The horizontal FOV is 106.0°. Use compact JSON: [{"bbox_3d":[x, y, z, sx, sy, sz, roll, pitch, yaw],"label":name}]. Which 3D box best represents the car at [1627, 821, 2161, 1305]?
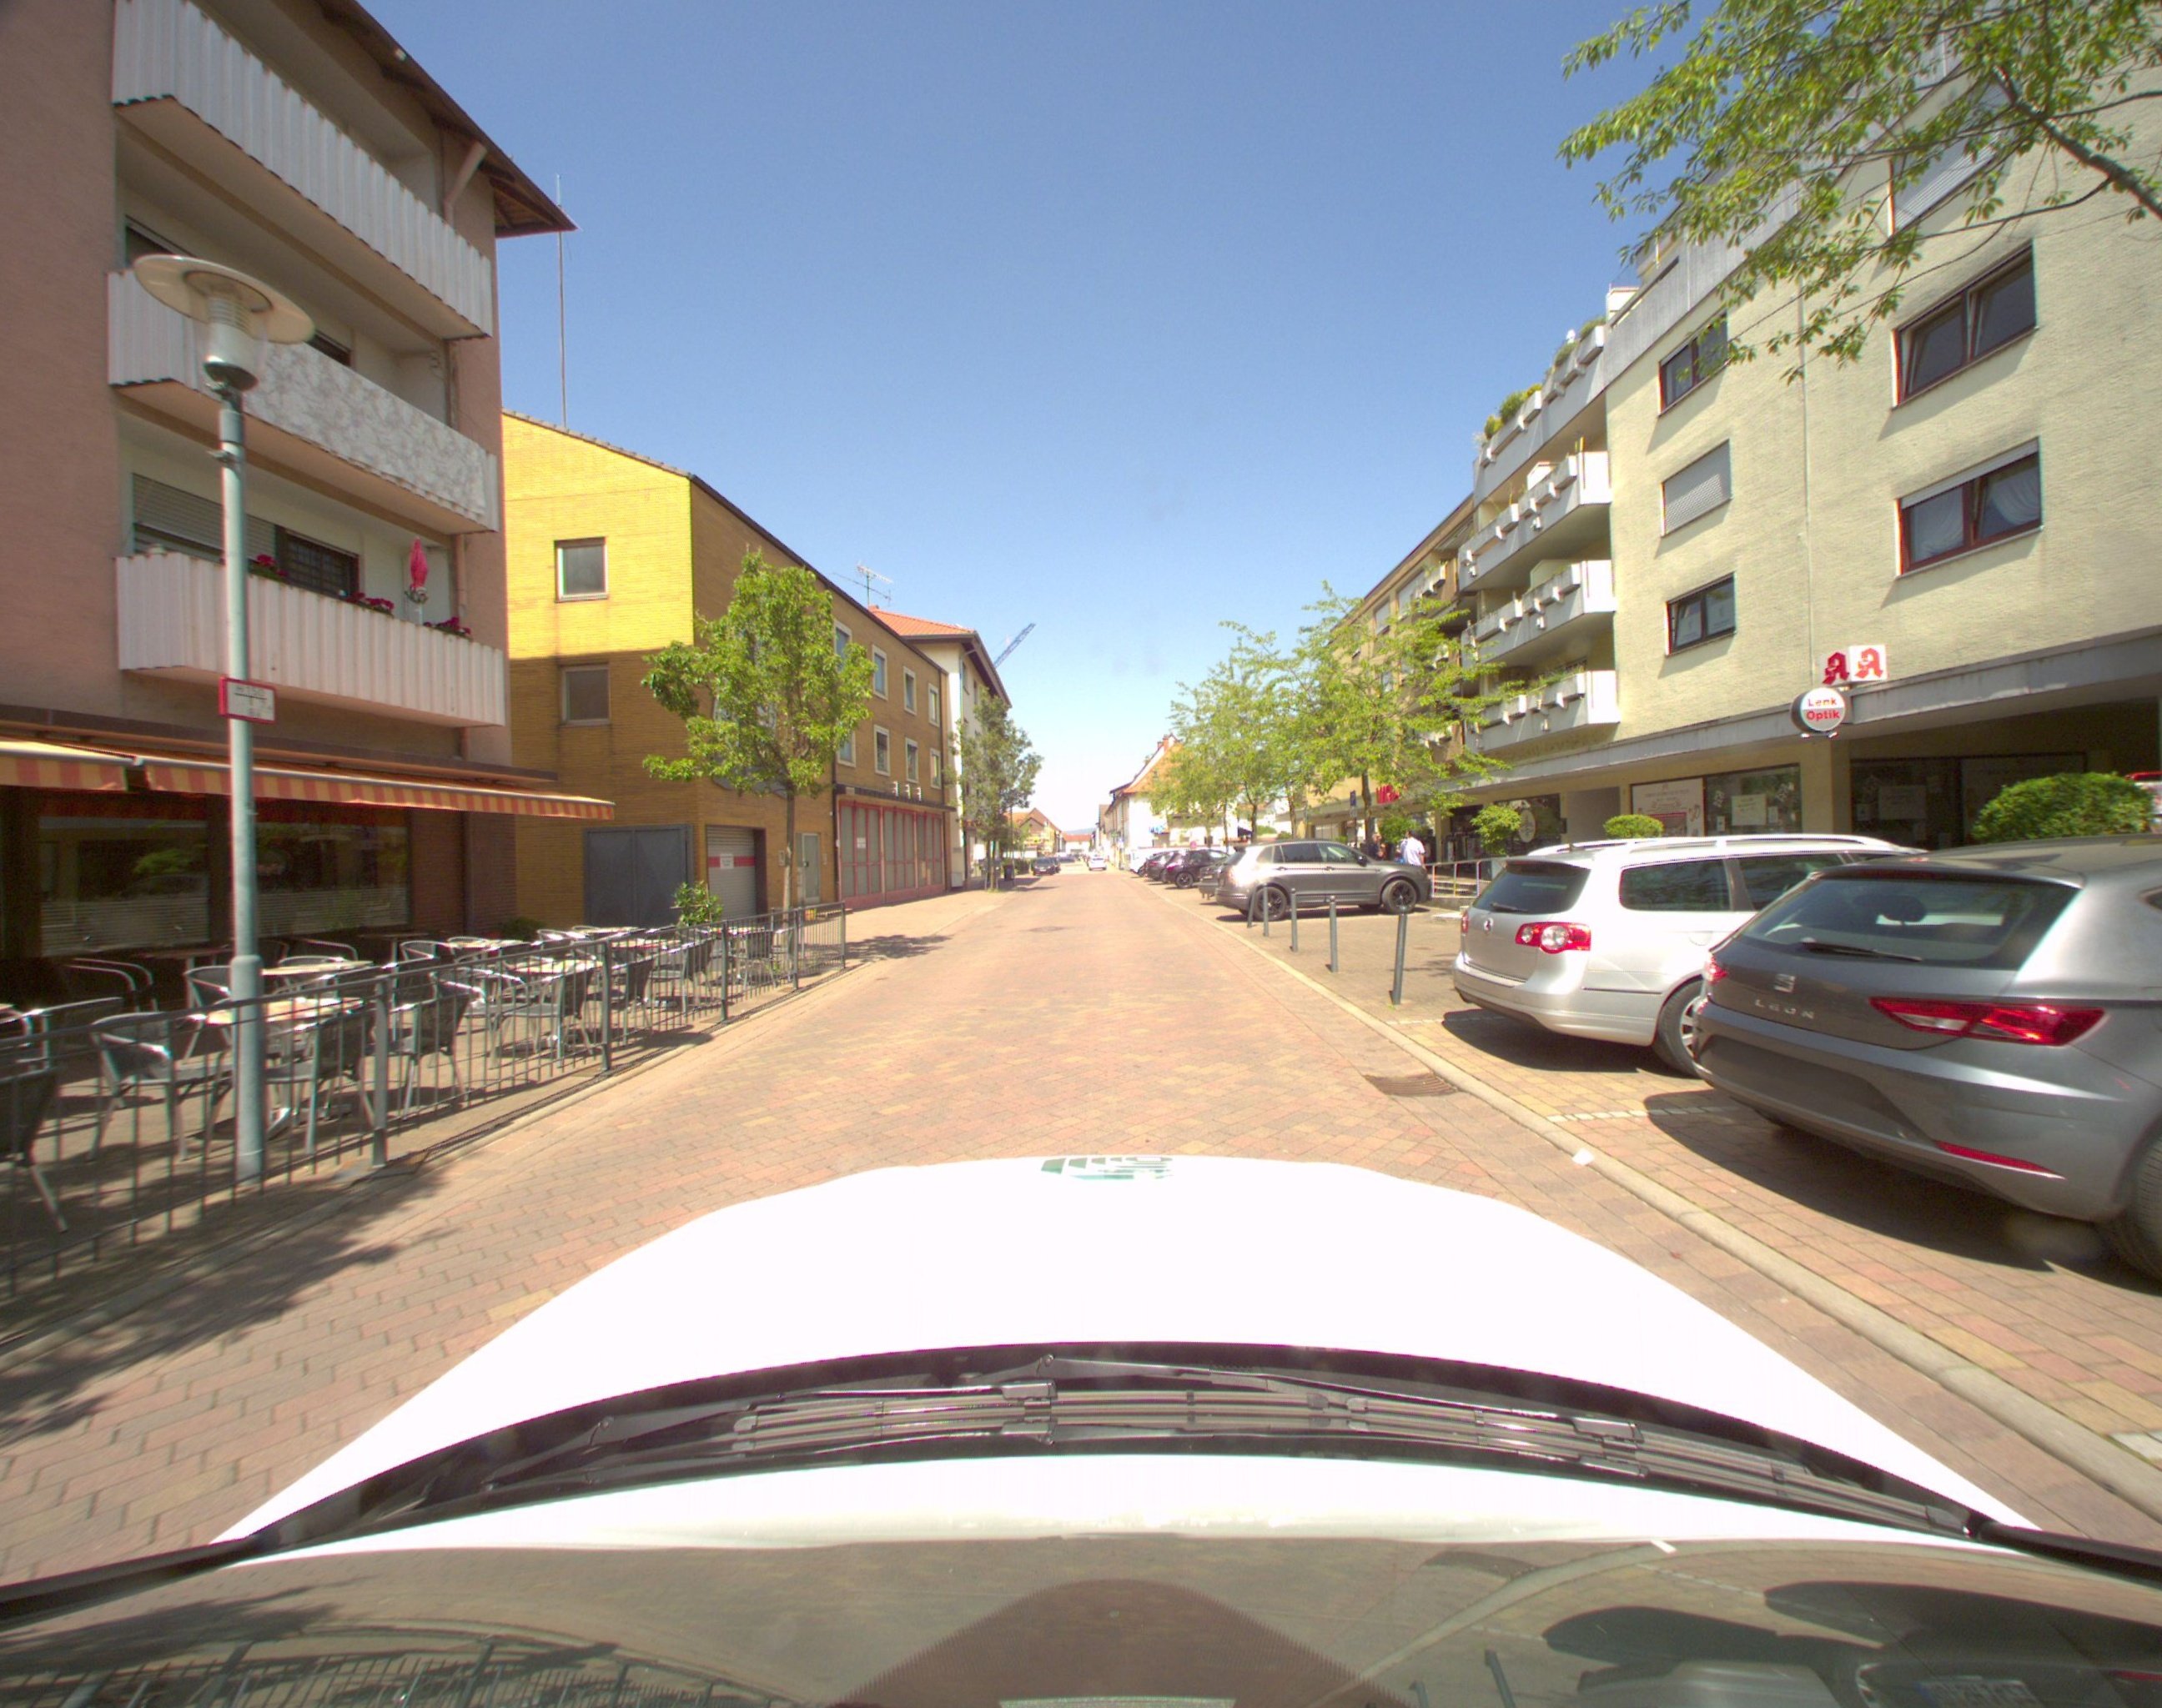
[{"bbox_3d":[4.766,0.601,3.261,3.918,1.489,1.718,-2,0,5],"label":"car"}]

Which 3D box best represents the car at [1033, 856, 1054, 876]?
[{"bbox_3d":[-3.202,1.014,69.495,1.502,1.500,3.828,-2,1,1],"label":"car"}]

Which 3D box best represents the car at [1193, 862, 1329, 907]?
[{"bbox_3d":[5.044,0.844,22.996,3.514,1.141,1.272,-2,-1,-4],"label":"car"}]

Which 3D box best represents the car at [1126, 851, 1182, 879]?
[{"bbox_3d":[4.860,0.738,54.449,3.472,1.700,1.533,-3,-1,-5],"label":"car"}]

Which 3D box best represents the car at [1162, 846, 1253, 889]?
[{"bbox_3d":[5.267,0.579,34.255,3.511,1.655,1.710,-2,-1,-1],"label":"car"}]

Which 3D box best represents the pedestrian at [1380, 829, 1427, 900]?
[{"bbox_3d":[8.411,0.252,21.247,0.836,1.787,0.805,-2,1,-6],"label":"pedestrian"}]

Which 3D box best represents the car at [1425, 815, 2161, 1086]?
[{"bbox_3d":[4.947,0.592,5.927,4.137,1.574,1.760,-2,1,2],"label":"car"}]

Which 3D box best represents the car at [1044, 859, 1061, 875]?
[{"bbox_3d":[-2.818,1.293,81.520,1.502,1.500,3.828,-2,1,1],"label":"car"}]

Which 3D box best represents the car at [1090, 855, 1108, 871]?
[{"bbox_3d":[1.960,0.946,88.388,1.825,1.532,3.946,-2,1,1],"label":"car"}]

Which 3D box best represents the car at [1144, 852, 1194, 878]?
[{"bbox_3d":[6.190,0.747,57.518,3.337,1.715,1.470,-2,-1,-1],"label":"car"}]

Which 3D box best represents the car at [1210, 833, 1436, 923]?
[{"bbox_3d":[4.978,0.473,17.101,4.231,1.615,1.558,-3,0,-1],"label":"car"}]

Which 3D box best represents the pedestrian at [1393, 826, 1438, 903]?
[{"bbox_3d":[8.037,0.243,19.600,0.831,1.787,0.809,-2,1,13],"label":"pedestrian"}]

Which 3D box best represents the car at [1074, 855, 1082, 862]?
[{"bbox_3d":[-0.630,1.080,189.087,1.740,1.481,3.630,-2,1,1],"label":"car"}]

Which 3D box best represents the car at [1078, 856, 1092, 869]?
[{"bbox_3d":[0.568,1.126,108.046,1.740,1.481,3.630,-2,1,1],"label":"car"}]

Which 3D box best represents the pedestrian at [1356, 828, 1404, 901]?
[{"bbox_3d":[7.563,0.244,20.653,0.836,1.787,0.805,-2,1,-6],"label":"pedestrian"}]

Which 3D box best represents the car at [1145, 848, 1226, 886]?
[{"bbox_3d":[4.849,0.619,37.984,3.511,1.624,1.710,-2,-1,-1],"label":"car"}]
